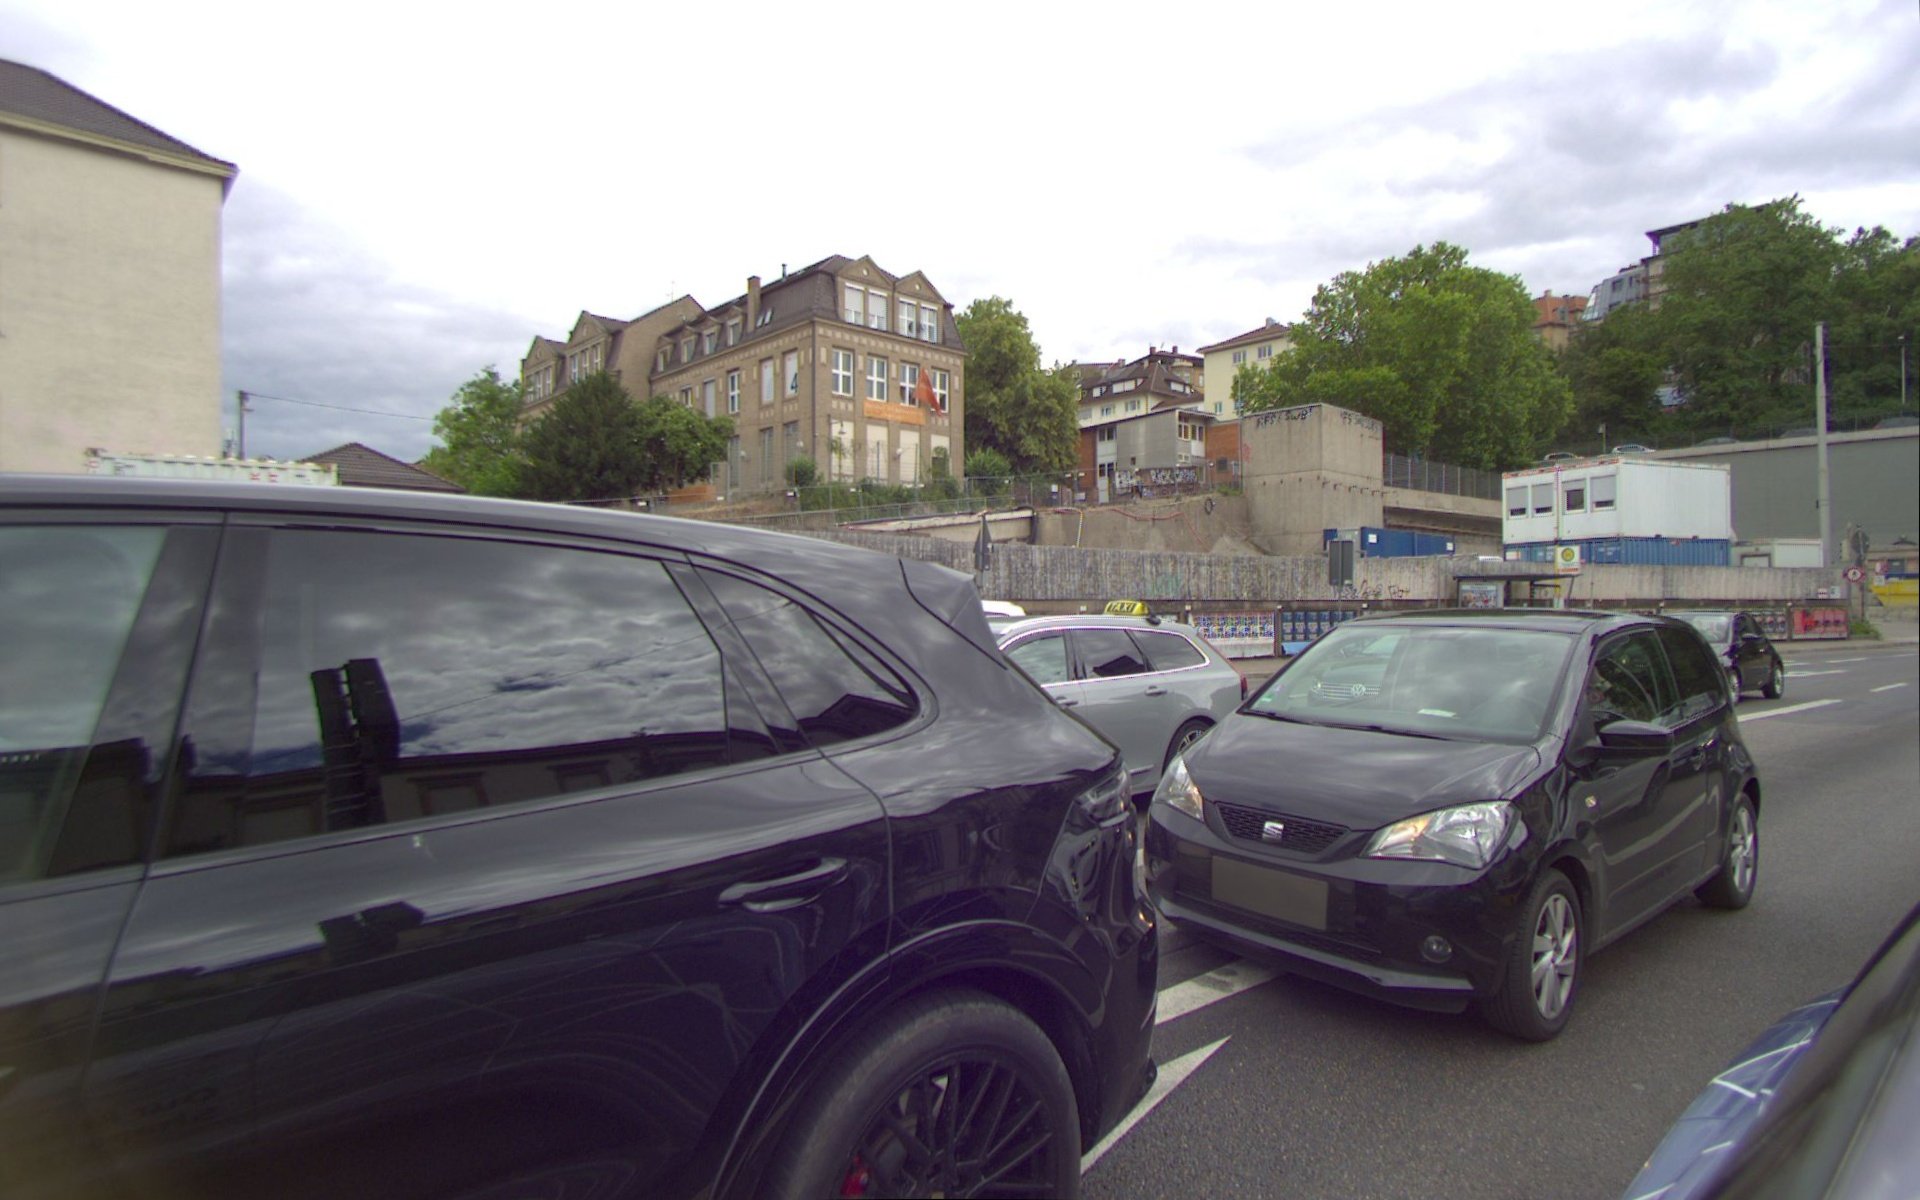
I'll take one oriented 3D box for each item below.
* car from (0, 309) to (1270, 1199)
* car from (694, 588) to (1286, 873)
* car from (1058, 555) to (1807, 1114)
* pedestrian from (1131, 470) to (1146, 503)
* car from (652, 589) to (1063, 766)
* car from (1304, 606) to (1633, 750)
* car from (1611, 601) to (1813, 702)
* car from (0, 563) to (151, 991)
[{"bbox_3d":[-1.660,0.561,1.664,4.497,1.689,1.998,-1,0,-39],"label":"car"},{"bbox_3d":[0.397,0.663,7.337,4.142,1.484,1.825,-1,0,-40],"label":"car"},{"bbox_3d":[2.409,0.637,4.716,3.841,1.575,1.661,-1,0,-39],"label":"car"},{"bbox_3d":[10.145,-6.452,57.513,0.558,1.817,0.556,0,0,-29],"label":"pedestrian"},{"bbox_3d":[-0.942,0.638,10.600,4.004,1.484,1.824,-1,0,-42],"label":"car"},{"bbox_3d":[6.021,0.775,11.803,4.139,1.381,1.827,1,0,-38],"label":"car"},{"bbox_3d":[12.440,0.784,16.681,3.711,1.478,1.721,1,-2,-38],"label":"car"},{"bbox_3d":[-5.064,0.641,3.454,3.581,1.529,1.826,-1,0,-39],"label":"car"}]
